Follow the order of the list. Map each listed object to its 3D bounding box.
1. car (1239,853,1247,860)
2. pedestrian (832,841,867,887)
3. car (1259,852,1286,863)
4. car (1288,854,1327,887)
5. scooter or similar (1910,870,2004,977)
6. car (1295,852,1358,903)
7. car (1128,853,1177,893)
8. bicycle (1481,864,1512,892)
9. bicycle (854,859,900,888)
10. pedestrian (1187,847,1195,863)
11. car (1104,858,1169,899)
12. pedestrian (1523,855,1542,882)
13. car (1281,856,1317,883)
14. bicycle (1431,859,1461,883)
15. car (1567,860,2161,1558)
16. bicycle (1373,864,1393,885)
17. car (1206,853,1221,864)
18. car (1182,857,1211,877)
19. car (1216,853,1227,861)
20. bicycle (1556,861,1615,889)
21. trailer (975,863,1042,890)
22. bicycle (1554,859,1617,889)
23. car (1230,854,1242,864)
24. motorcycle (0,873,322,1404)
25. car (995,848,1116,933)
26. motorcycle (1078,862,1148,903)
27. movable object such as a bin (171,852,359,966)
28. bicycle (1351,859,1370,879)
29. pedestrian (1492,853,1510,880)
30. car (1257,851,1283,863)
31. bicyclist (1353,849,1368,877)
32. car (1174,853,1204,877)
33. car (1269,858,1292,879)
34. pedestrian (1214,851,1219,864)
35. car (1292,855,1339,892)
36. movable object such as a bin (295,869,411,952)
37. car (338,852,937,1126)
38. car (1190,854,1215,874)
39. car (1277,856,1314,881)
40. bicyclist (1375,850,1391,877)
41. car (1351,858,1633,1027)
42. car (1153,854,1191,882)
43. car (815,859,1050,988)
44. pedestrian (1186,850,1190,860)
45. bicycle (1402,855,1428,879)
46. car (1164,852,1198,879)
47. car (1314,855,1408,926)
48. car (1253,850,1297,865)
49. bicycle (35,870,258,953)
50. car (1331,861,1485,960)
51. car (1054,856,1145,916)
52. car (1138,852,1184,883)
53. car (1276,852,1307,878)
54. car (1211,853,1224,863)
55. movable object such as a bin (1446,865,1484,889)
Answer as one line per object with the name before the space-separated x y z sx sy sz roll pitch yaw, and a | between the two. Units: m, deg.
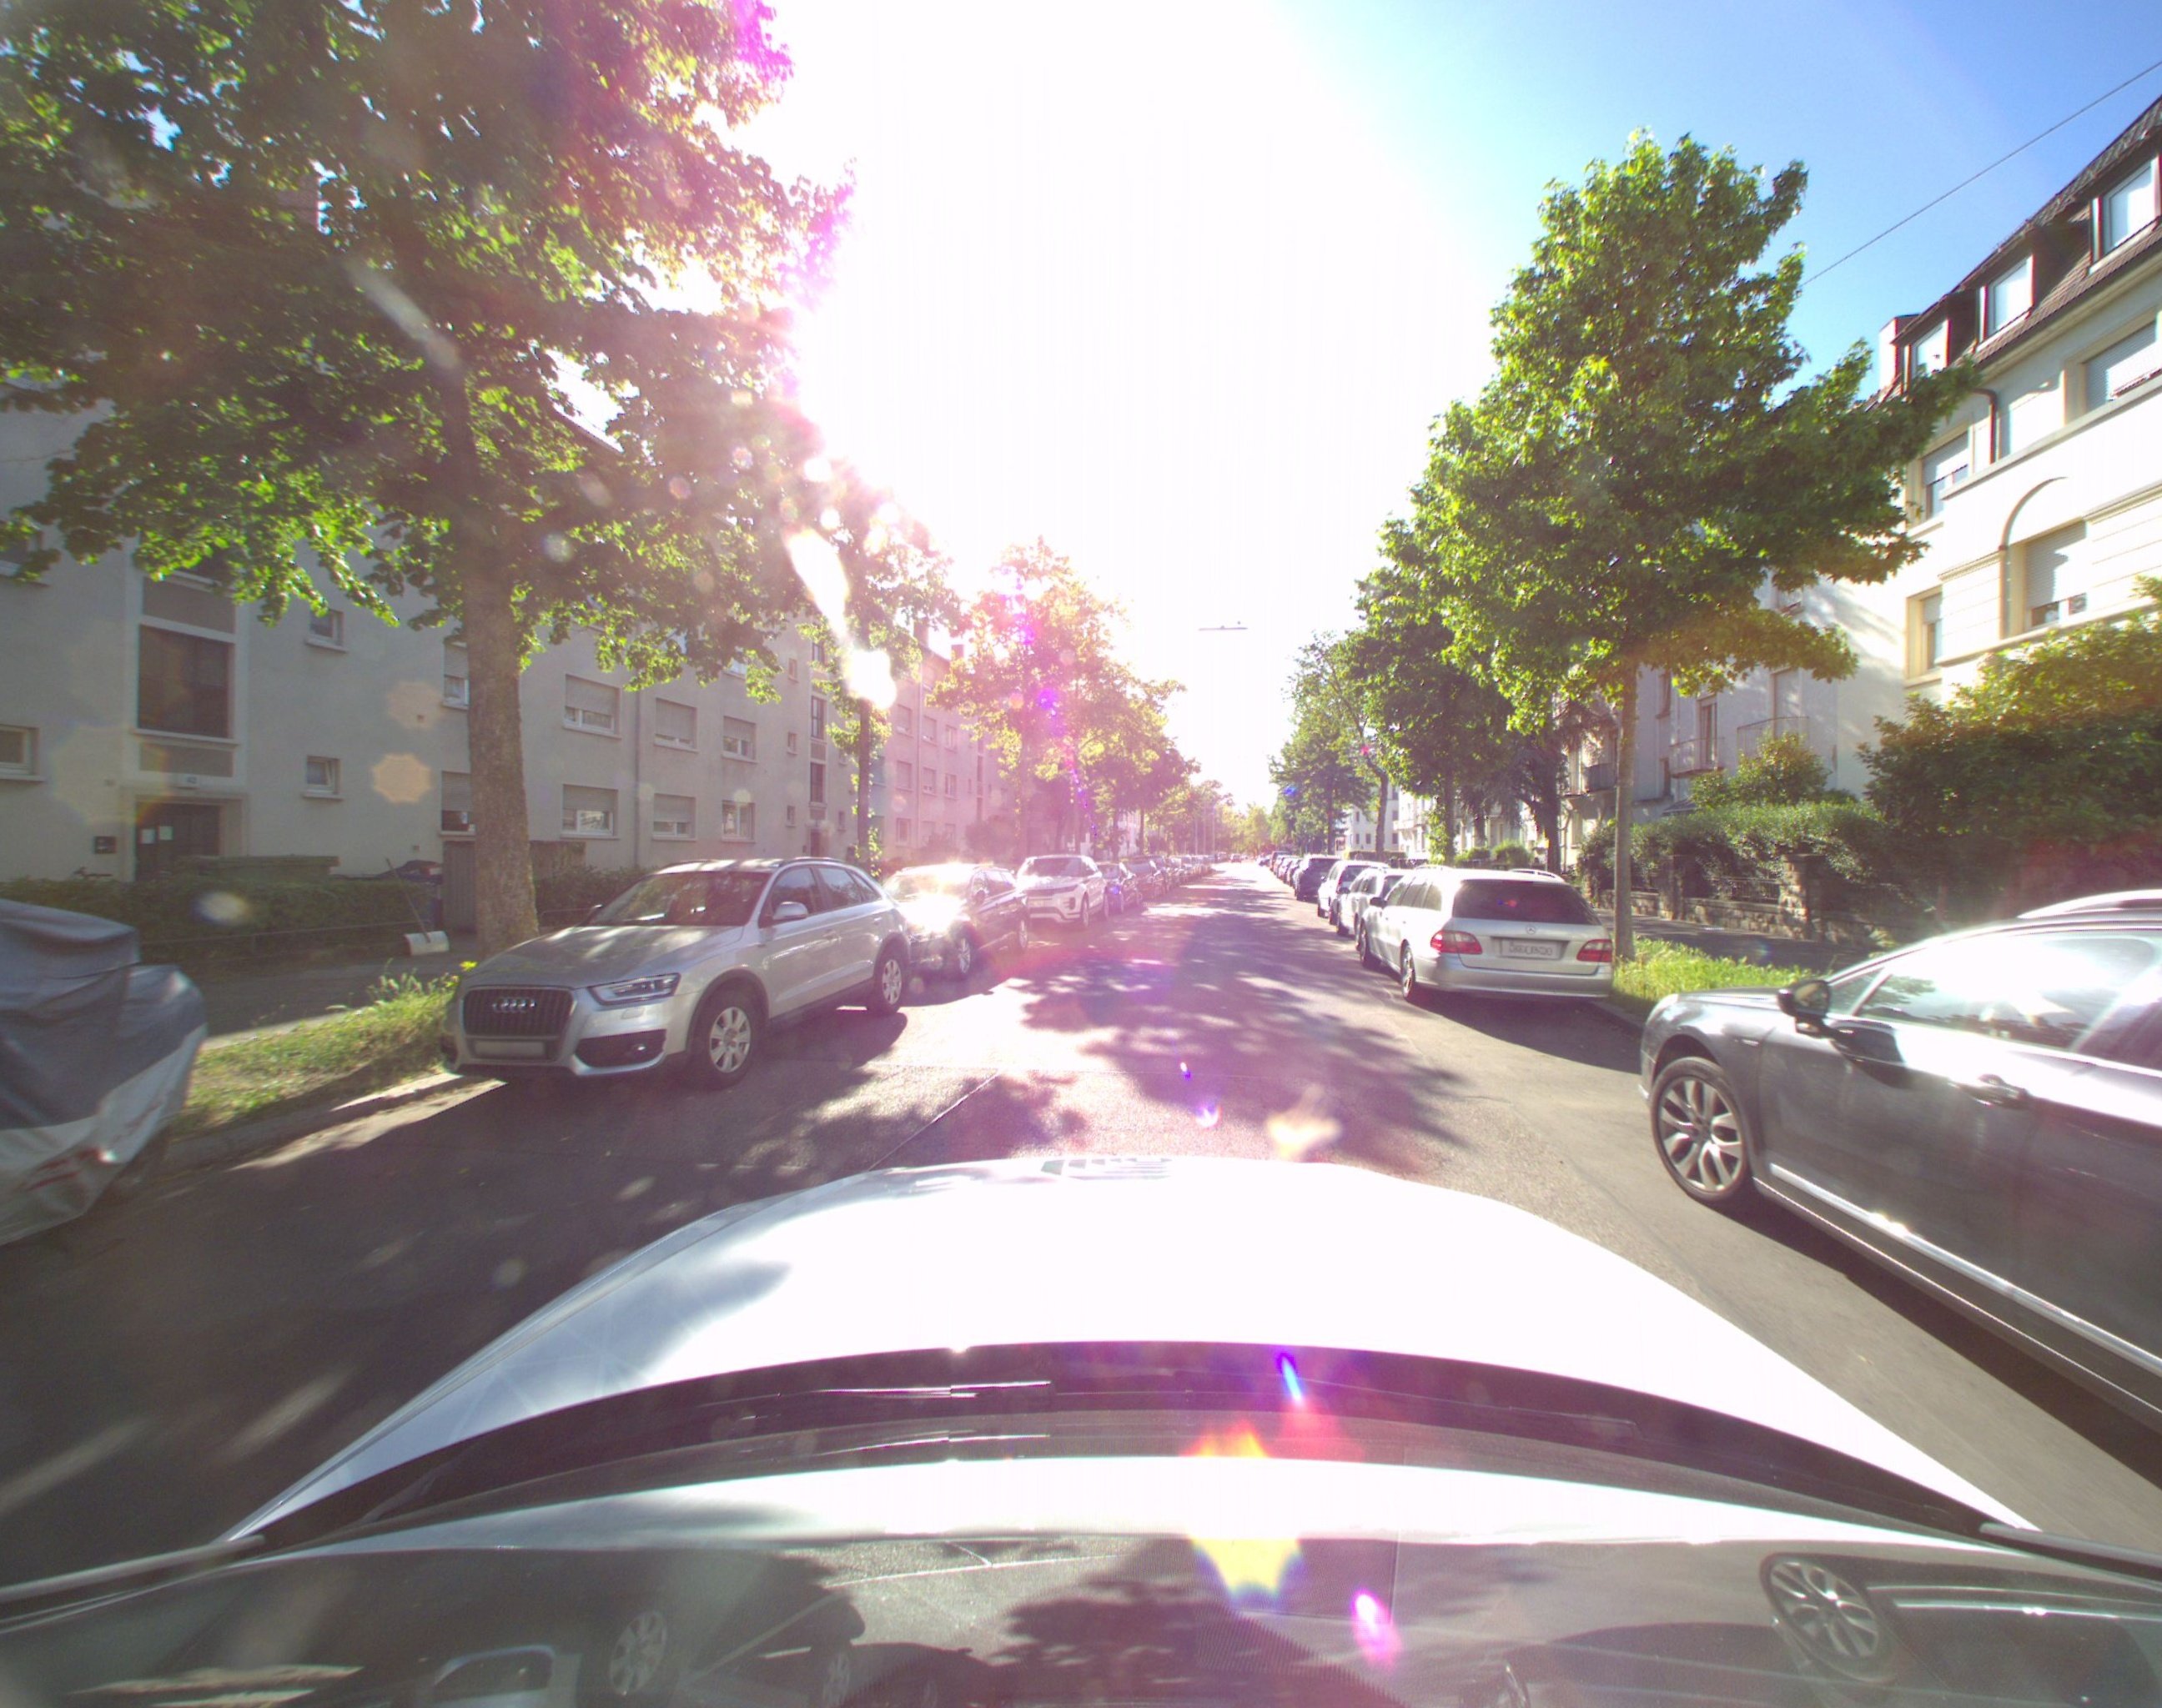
car | 37.837 0.551 190.499 1.882 1.560 4.013 0 0 11
pedestrian | -9.685 0.402 34.083 0.925 1.888 1.031 0 0 24
car | 29.608 0.545 125.933 3.963 1.806 1.894 0 0 9
car | 11.865 0.816 42.914 1.681 1.540 4.456 1 1 12
scooter or similar | 10.748 0.816 10.024 0.398 1.185 1.213 0 0 27
car | 8.949 0.777 30.036 1.912 1.651 5.114 2 1 13
car | 3.185 0.773 35.658 1.779 1.566 4.476 -3 -1 9
bicycle | 15.334 0.872 30.095 0.577 0.975 1.910 -1 0 13
bicycle | -8.261 0.768 33.083 0.507 1.153 1.967 1 0 35
pedestrian | 13.897 0.163 102.620 0.852 2.013 0.986 0 0 20
car | 2.141 0.864 30.421 1.767 1.379 4.277 -2 0 12
pedestrian | 19.529 0.611 35.237 0.506 1.142 0.758 1 0 10
car | 12.710 0.879 47.547 1.777 1.453 3.794 1 0 11
bicycle | 17.377 0.807 38.820 0.799 1.115 2.005 1 0 9
car | 3.440 0.798 2.365 1.883 1.524 4.981 1 -1 11
bicycle | 17.697 1.181 47.776 0.680 1.153 2.409 0 0 9
car | 20.188 0.679 124.087 1.980 1.671 4.013 0 0 12
car | 9.175 1.011 64.689 1.981 1.453 4.275 -2 -1 11
car | 27.673 0.633 160.524 1.980 1.585 4.013 0 0 12
bicycle | 19.951 0.823 32.215 1.883 1.100 0.585 -1 0 15
trailer | -2.934 0.909 33.756 1.776 1.034 3.293 0 0 14
bicycle | 18.624 0.741 30.100 1.883 1.100 0.585 -1 0 15
car | 25.493 0.818 133.764 1.773 1.609 4.009 0 0 8
motorcycle | -4.002 0.853 3.154 0.992 1.503 2.213 -1 0 -28
car | -0.431 0.746 18.530 1.717 1.618 4.379 -3 -1 11
motorcycle | 1.085 0.952 27.404 2.277 1.270 0.809 -2 0 1
movable object such as a bin | -10.176 0.648 10.232 0.925 1.324 1.381 0 0 7
bicycle | 16.700 0.912 48.715 0.680 1.153 2.409 0 0 9
pedestrian | 18.141 0.520 35.158 0.506 1.142 0.758 1 0 13
car | 30.905 0.472 133.170 3.963 1.830 2.005 0 0 9
bicyclist | 16.669 0.540 48.547 0.673 1.609 0.924 0 0 9
car | 7.470 0.767 56.117 1.698 1.544 3.943 -2 -1 12
car | 19.435 1.334 79.325 1.958 1.949 5.001 0 0 11
pedestrian | 20.103 0.553 120.839 0.712 1.900 0.837 0 0 2
car | 10.685 0.842 37.378 1.739 1.454 4.477 3 1 12
movable object such as a bin | -10.065 0.763 11.284 0.925 1.092 0.756 0 0 6
car | -3.022 0.744 7.028 2.052 1.524 4.734 0 0 9
car | 10.577 0.832 70.620 1.827 1.595 4.275 -2 0 11
car | 13.911 0.922 53.030 1.885 1.474 4.713 3 0 11
bicyclist | 17.666 0.550 47.598 0.672 1.553 1.024 0 0 9
car | 4.666 0.834 10.125 1.810 1.469 4.924 2 0 11
car | 5.090 0.728 45.199 1.750 1.444 3.921 -2 0 11
car | -1.884 0.855 12.105 1.717 1.447 4.836 -2 0 11
pedestrian | 19.811 0.139 150.782 0.758 1.900 0.820 0 0 5
bicycle | 18.702 0.710 45.665 0.833 1.257 2.236 1 0 8
car | 6.268 0.697 50.733 1.799 1.596 4.246 -1 0 12
car | 6.966 0.841 20.629 1.644 1.532 3.981 3 1 11
car | 23.587 0.409 99.092 5.090 1.822 1.985 1 0 -23
bicycle | -13.084 0.764 11.511 0.782 1.041 1.940 0 0 8
car | 5.783 0.880 15.006 1.700 1.410 4.876 2 0 11
car | 0.653 0.863 23.778 1.716 1.477 4.635 -3 -1 12
car | 4.044 0.637 40.553 1.817 1.453 4.135 -1 0 12
car | 15.267 0.775 59.188 1.894 1.699 4.327 3 1 12
car | 23.394 0.695 139.087 1.980 1.585 4.013 0 0 12
movable object such as a bin | 15.848 0.930 33.581 1.209 0.905 1.675 0 0 32
